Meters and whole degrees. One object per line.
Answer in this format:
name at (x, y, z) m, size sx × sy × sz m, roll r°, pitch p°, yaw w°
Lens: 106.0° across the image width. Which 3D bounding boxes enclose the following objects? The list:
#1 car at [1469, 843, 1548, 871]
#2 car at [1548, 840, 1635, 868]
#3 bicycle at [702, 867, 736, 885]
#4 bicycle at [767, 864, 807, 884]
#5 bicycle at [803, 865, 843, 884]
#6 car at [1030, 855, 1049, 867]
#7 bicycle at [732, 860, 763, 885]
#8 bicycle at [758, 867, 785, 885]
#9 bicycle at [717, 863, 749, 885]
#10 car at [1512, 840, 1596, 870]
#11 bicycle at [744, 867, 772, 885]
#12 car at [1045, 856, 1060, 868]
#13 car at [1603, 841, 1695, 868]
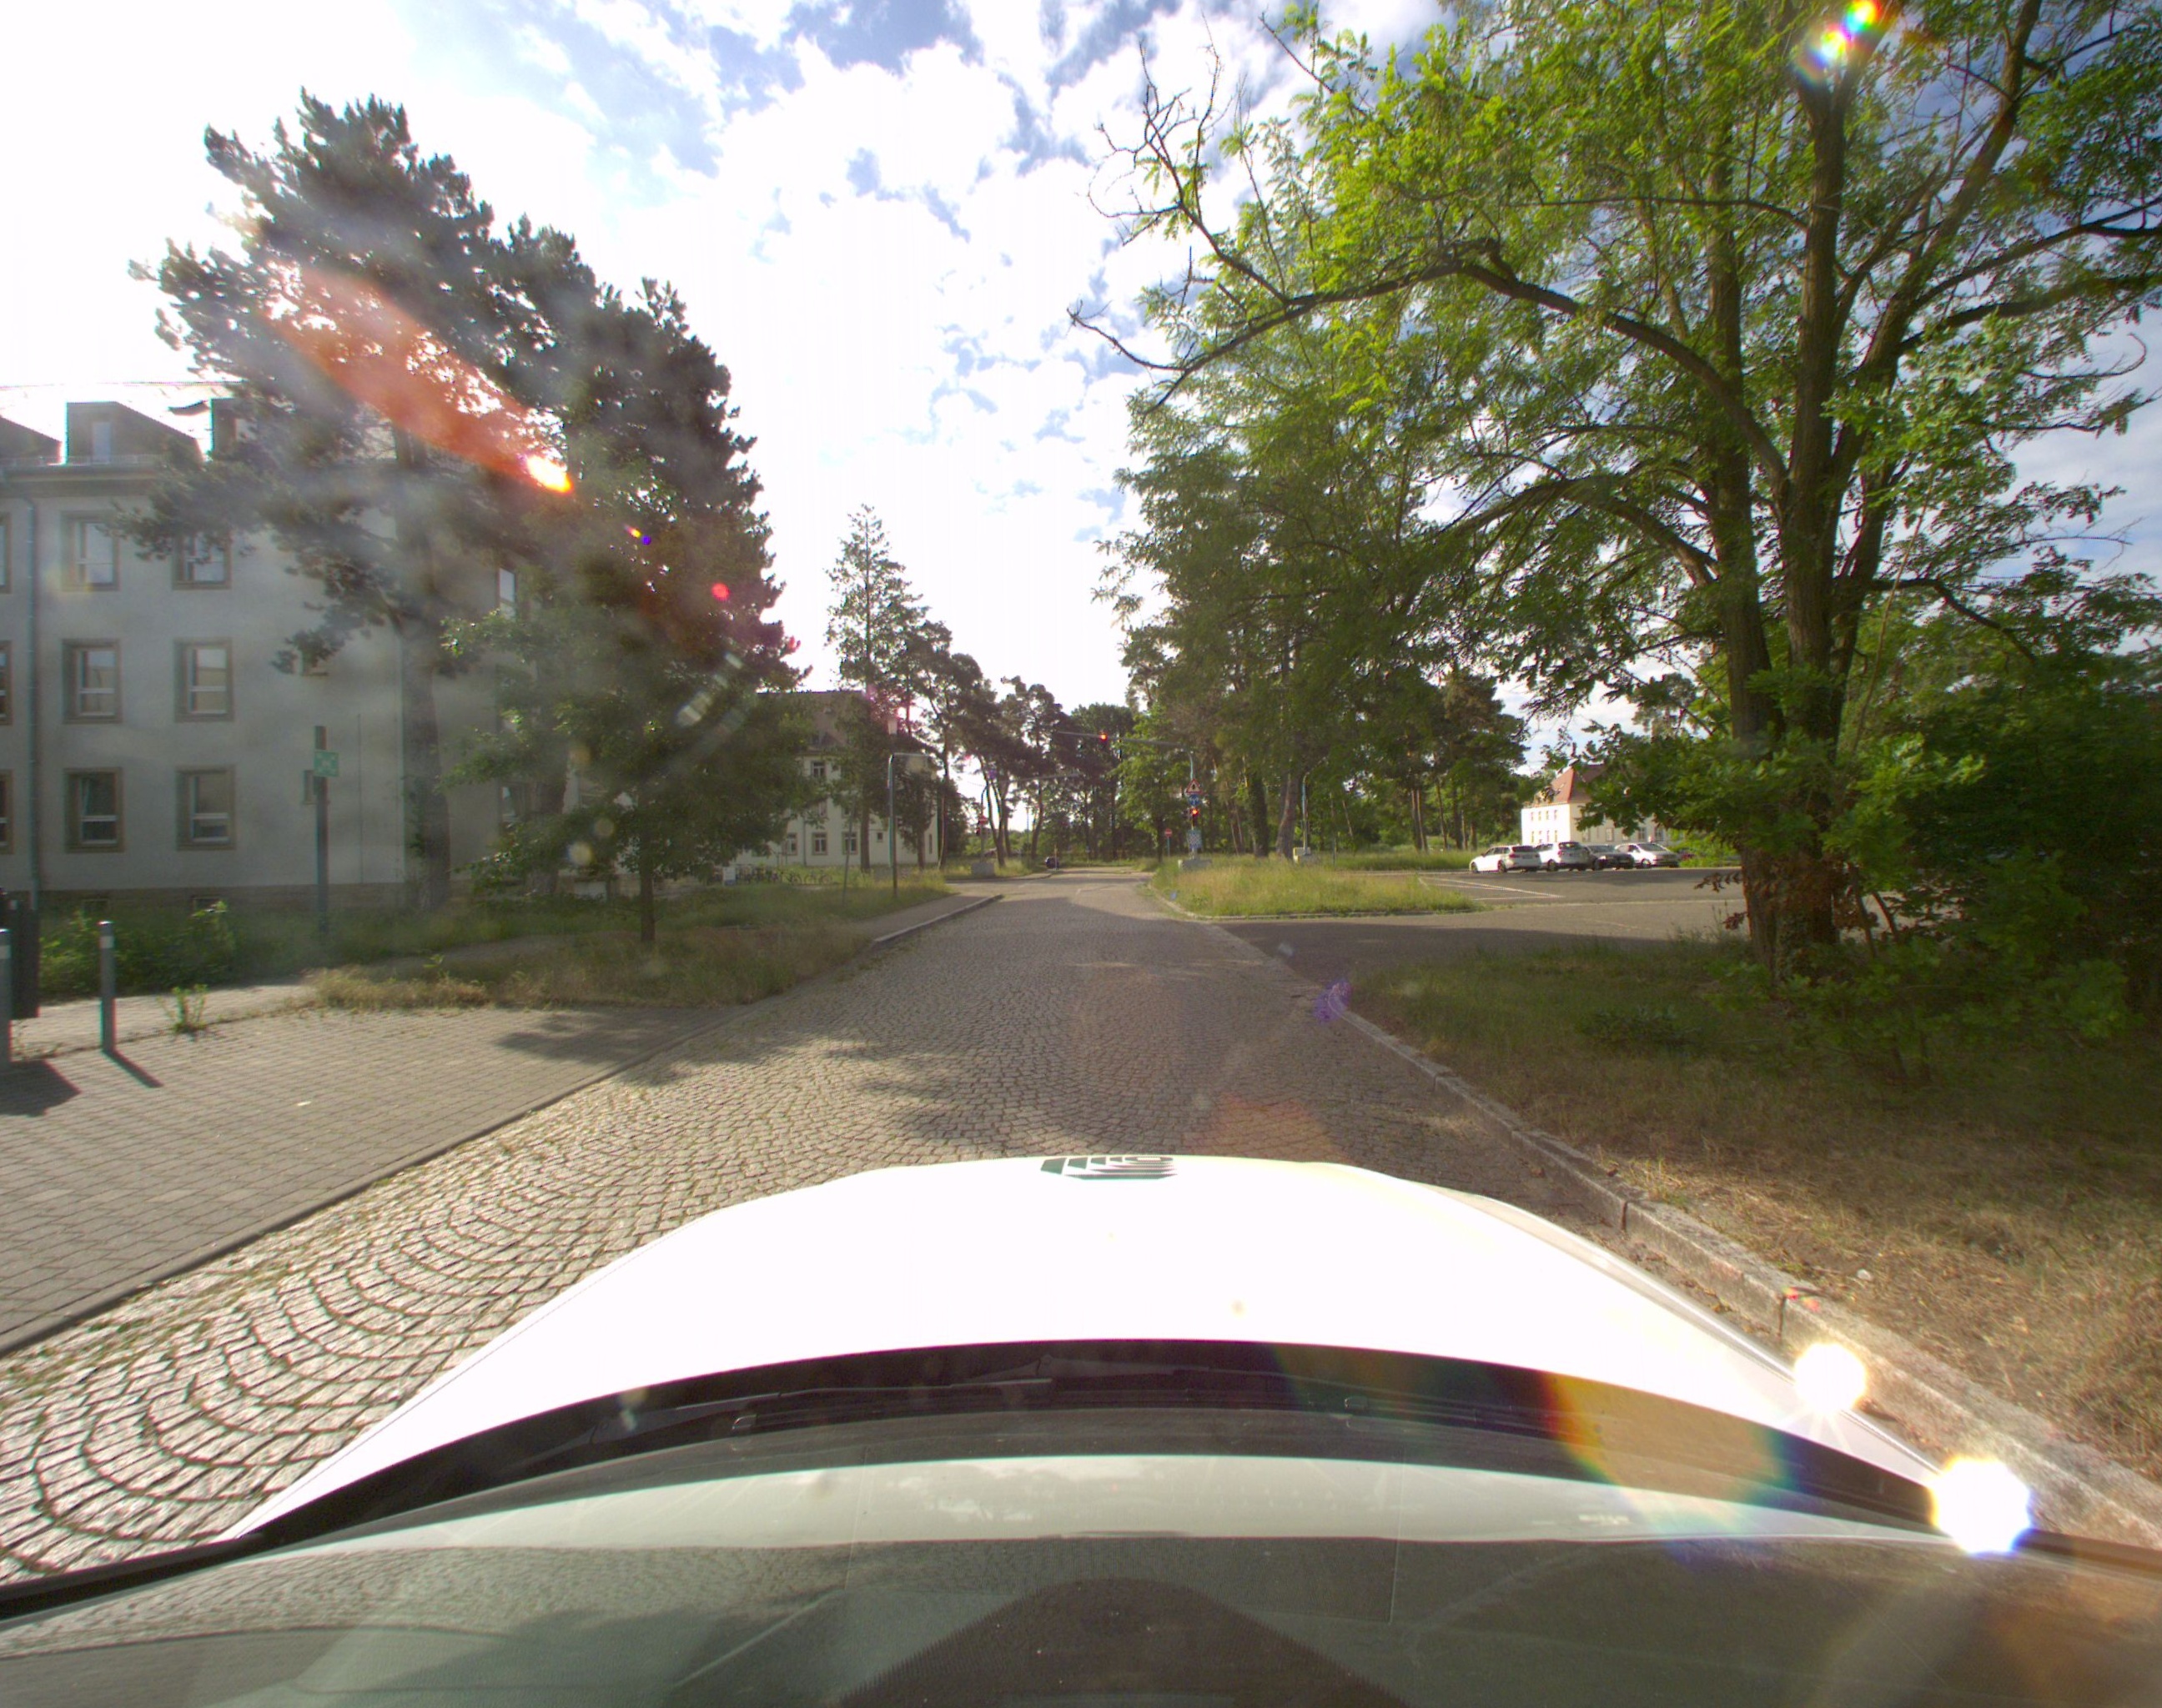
car at (22.172, 0.149, 42.427) m, size 1.726 × 1.312 × 4.328 m, roll -1°, pitch 0°, yaw -2°
car at (26.911, -0.017, 43.080) m, size 1.727 × 1.312 × 4.328 m, roll -4°, pitch 1°, yaw -2°
bicycle at (-22.312, 1.345, 50.205) m, size 0.897 × 1.047 × 2.554 m, roll -1°, pitch 0°, yaw 1°
bicycle at (-17.646, 1.213, 48.924) m, size 2.112 × 1.108 × 0.828 m, roll -1°, pitch 0°, yaw -3°
bicycle at (-15.523, 1.211, 49.004) m, size 2.112 × 1.047 × 0.828 m, roll -1°, pitch 0°, yaw -3°
car at (-5.617, 0.957, 111.154) m, size 1.772 × 1.490 × 3.764 m, roll -1°, pitch 0°, yaw 8°
bicycle at (-20.638, 1.137, 50.495) m, size 0.823 × 1.437 × 2.554 m, roll -1°, pitch 0°, yaw 1°
bicycle at (-19.070, 1.346, 50.185) m, size 0.823 × 1.047 × 2.124 m, roll -1°, pitch 0°, yaw 1°
bicycle at (-21.414, 1.228, 50.199) m, size 0.823 × 1.281 × 2.554 m, roll -1°, pitch 0°, yaw 1°
car at (24.691, 0.062, 42.717) m, size 1.726 × 1.476 × 4.328 m, roll -1°, pitch 0°, yaw -2°
bicycle at (-19.851, 1.345, 50.147) m, size 0.823 × 1.047 × 2.124 m, roll -1°, pitch 0°, yaw 1°
car at (-3.699, 1.038, 106.365) m, size 1.840 × 1.486 × 3.998 m, roll -1°, pitch 0°, yaw -1°
car at (30.046, 0.035, 43.262) m, size 1.726 × 1.312 × 4.328 m, roll -2°, pitch 0°, yaw -2°
